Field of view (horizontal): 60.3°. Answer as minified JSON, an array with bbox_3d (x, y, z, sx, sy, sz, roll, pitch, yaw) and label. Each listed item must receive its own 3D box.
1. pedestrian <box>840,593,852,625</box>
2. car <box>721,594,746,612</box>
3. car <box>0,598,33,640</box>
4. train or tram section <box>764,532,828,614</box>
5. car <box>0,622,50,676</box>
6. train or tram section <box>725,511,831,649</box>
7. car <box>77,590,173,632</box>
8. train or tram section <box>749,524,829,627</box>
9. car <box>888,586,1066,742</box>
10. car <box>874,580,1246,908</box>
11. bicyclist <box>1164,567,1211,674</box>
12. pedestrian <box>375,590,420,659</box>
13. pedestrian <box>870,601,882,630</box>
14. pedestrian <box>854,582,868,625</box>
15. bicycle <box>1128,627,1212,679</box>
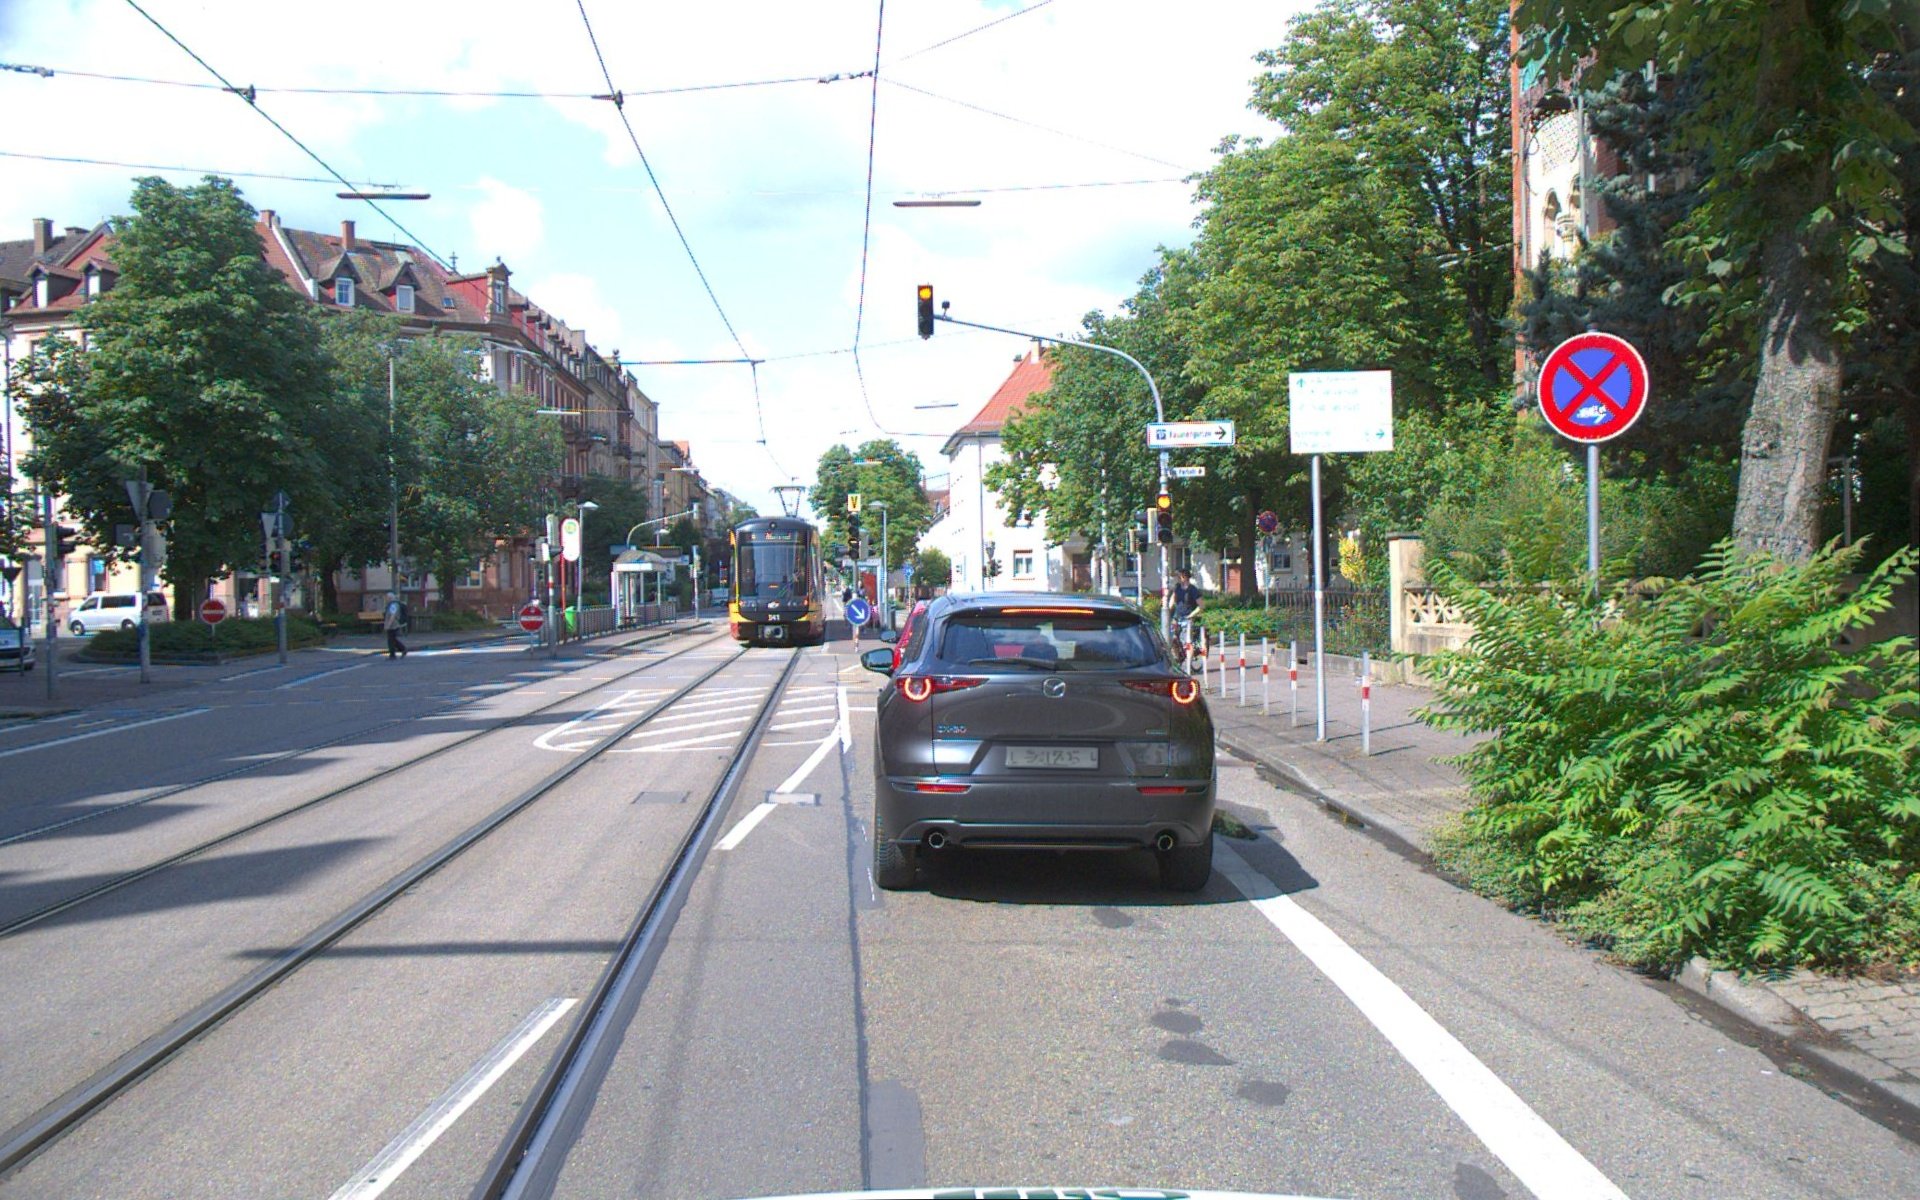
[{"bbox_3d":[-3.920,0.307,56.790,0.372,1.089,0.474,-1,0,-5],"label":"pedestrian"},{"bbox_3d":[-16.876,0.219,123.272,1.583,1.333,3.624,-1,0,-4],"label":"car"},{"bbox_3d":[-39.701,0.780,66.288,3.906,1.624,2.000,-1,0,-1],"label":"car"},{"bbox_3d":[-7.760,-1.335,79.284,2.699,3.551,14.395,-1,1,-5],"label":"train or tram section"},{"bbox_3d":[-23.643,1.166,39.544,3.916,1.203,1.674,-1,0,33],"label":"car"},{"bbox_3d":[-5.374,-0.691,50.602,2.699,3.551,14.395,-1,1,-5],"label":"train or tram section"},{"bbox_3d":[-39.742,0.522,78.728,3.906,1.937,1.999,-1,0,23],"label":"car"},{"bbox_3d":[-6.568,-1.014,64.944,2.699,3.551,14.395,-1,1,-5],"label":"train or tram section"},{"bbox_3d":[0.130,0.625,18.459,1.742,1.526,3.999,1,0,-1],"label":"car"},{"bbox_3d":[0.433,0.667,9.821,1.742,1.526,3.999,1,0,-1],"label":"car"},{"bbox_3d":[3.933,0.348,28.602,0.597,1.824,0.656,-1,0,-11],"label":"bicyclist"},{"bbox_3d":[-14.315,0.620,42.114,0.806,1.735,0.717,-1,0,31],"label":"pedestrian"},{"bbox_3d":[-2.887,0.529,57.060,0.372,1.001,0.474,-1,0,-6],"label":"pedestrian"},{"bbox_3d":[-3.396,0.133,56.871,0.441,1.459,0.474,-1,0,-6],"label":"pedestrian"},{"bbox_3d":[3.699,0.914,29.005,1.685,0.838,0.487,-1,0,-43],"label":"bicycle"}]
